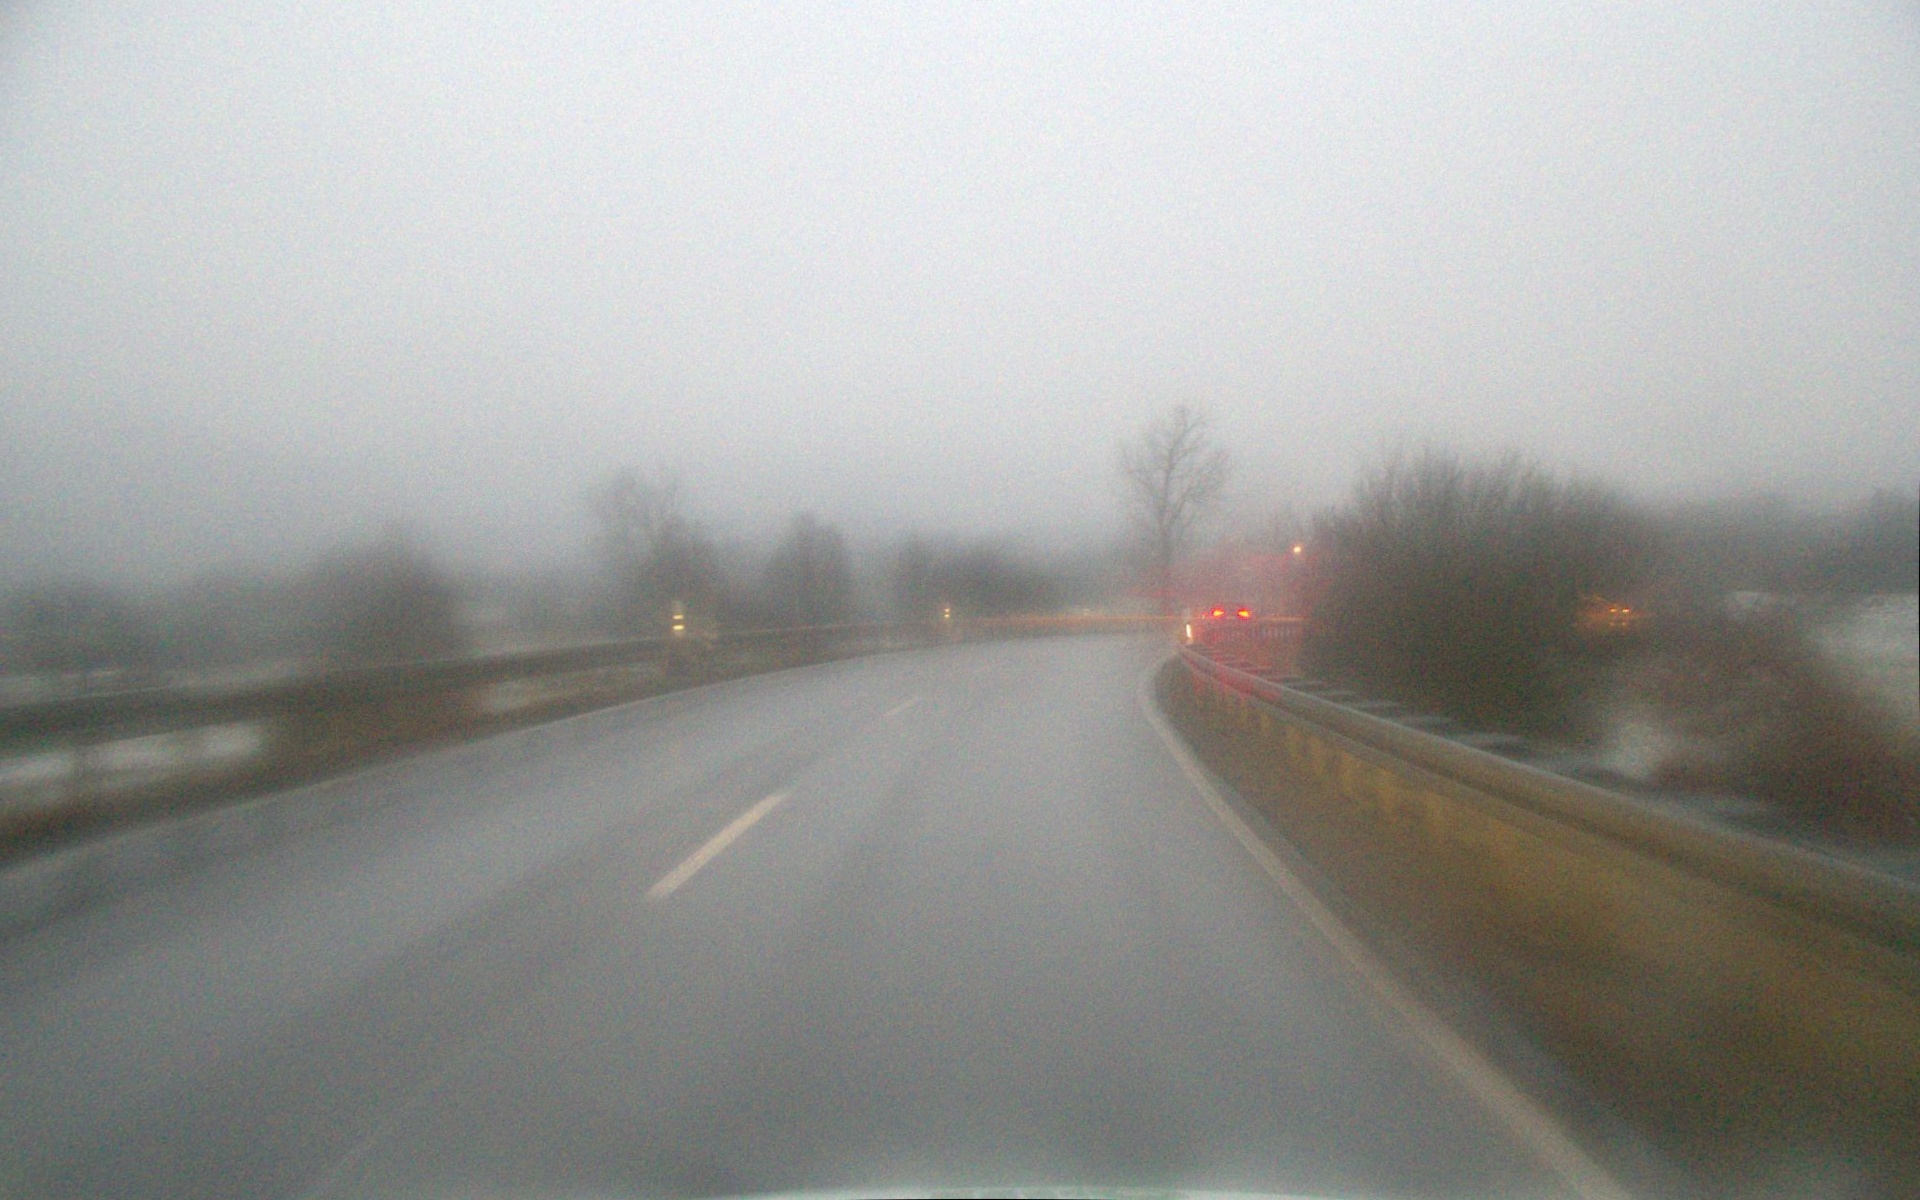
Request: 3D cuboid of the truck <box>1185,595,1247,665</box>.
[{"bbox_3d":[12.458,1.490,80.372,2.481,2.916,5.926,8,-1,9],"label":"truck"}]
